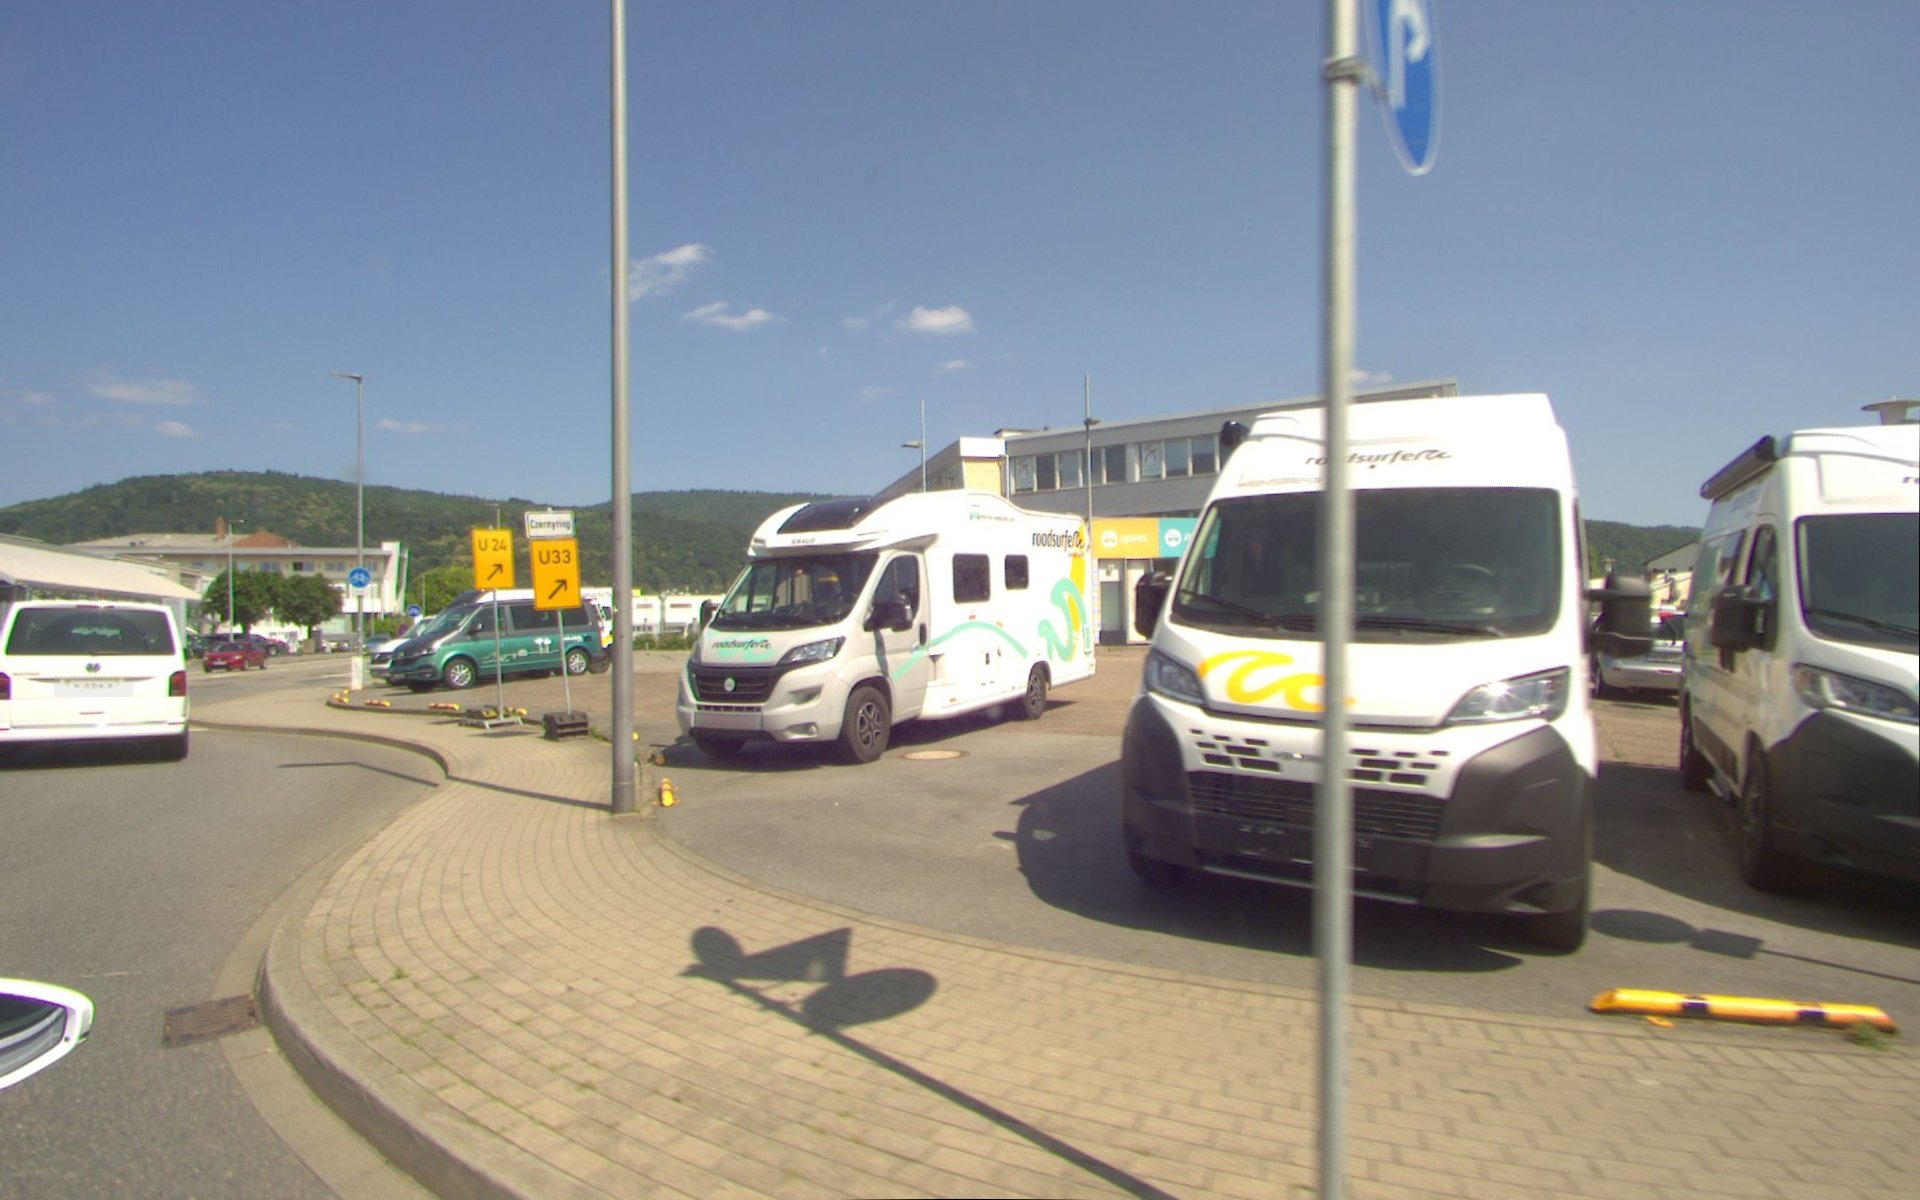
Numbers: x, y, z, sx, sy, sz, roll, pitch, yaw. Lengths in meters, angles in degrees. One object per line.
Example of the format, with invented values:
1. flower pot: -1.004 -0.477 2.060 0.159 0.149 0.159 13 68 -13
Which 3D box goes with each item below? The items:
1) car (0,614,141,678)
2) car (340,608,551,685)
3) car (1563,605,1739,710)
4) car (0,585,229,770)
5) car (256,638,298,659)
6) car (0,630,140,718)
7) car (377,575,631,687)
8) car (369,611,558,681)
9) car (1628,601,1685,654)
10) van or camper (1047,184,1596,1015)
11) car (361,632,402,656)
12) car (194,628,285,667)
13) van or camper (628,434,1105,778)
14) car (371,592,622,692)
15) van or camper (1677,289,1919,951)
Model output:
1. car: -31.909 1.618 36.110 1.993 2.141 4.925 1 -1 -18
2. car: -14.863 1.299 29.216 2.000 2.026 5.123 -2 -2 38
3. car: 11.762 0.918 17.313 1.786 1.535 3.885 2 -1 25
4. car: -11.598 0.970 13.563 2.149 2.038 4.972 5 -4 -42
5. car: -52.959 3.745 77.610 3.617 1.605 1.738 -2 -2 39
6. car: -19.845 1.553 22.122 4.513 1.755 1.984 -2 -2 41
7. car: -12.460 0.821 27.842 2.277 2.752 6.118 -1 -1 36
8. car: -15.874 1.408 32.260 1.910 2.040 5.106 -2 -1 42
9. car: 35.935 1.456 51.801 2.081 2.558 5.579 -1 -2 32
10. van or camper: 2.730 0.051 6.425 2.060 2.810 5.803 0 -1 30
11. car: -43.803 3.308 75.869 1.882 1.783 4.442 0 -1 -19
12. car: -35.965 2.350 50.148 1.991 1.861 4.865 0 -2 -14
13. van or camper: -0.537 0.079 12.336 2.299 2.985 7.055 -2 0 28
14. car: -10.983 0.956 24.143 2.069 2.140 5.198 -1 -1 34
15. van or camper: 6.046 0.180 6.341 2.018 2.850 5.498 1 -1 32
